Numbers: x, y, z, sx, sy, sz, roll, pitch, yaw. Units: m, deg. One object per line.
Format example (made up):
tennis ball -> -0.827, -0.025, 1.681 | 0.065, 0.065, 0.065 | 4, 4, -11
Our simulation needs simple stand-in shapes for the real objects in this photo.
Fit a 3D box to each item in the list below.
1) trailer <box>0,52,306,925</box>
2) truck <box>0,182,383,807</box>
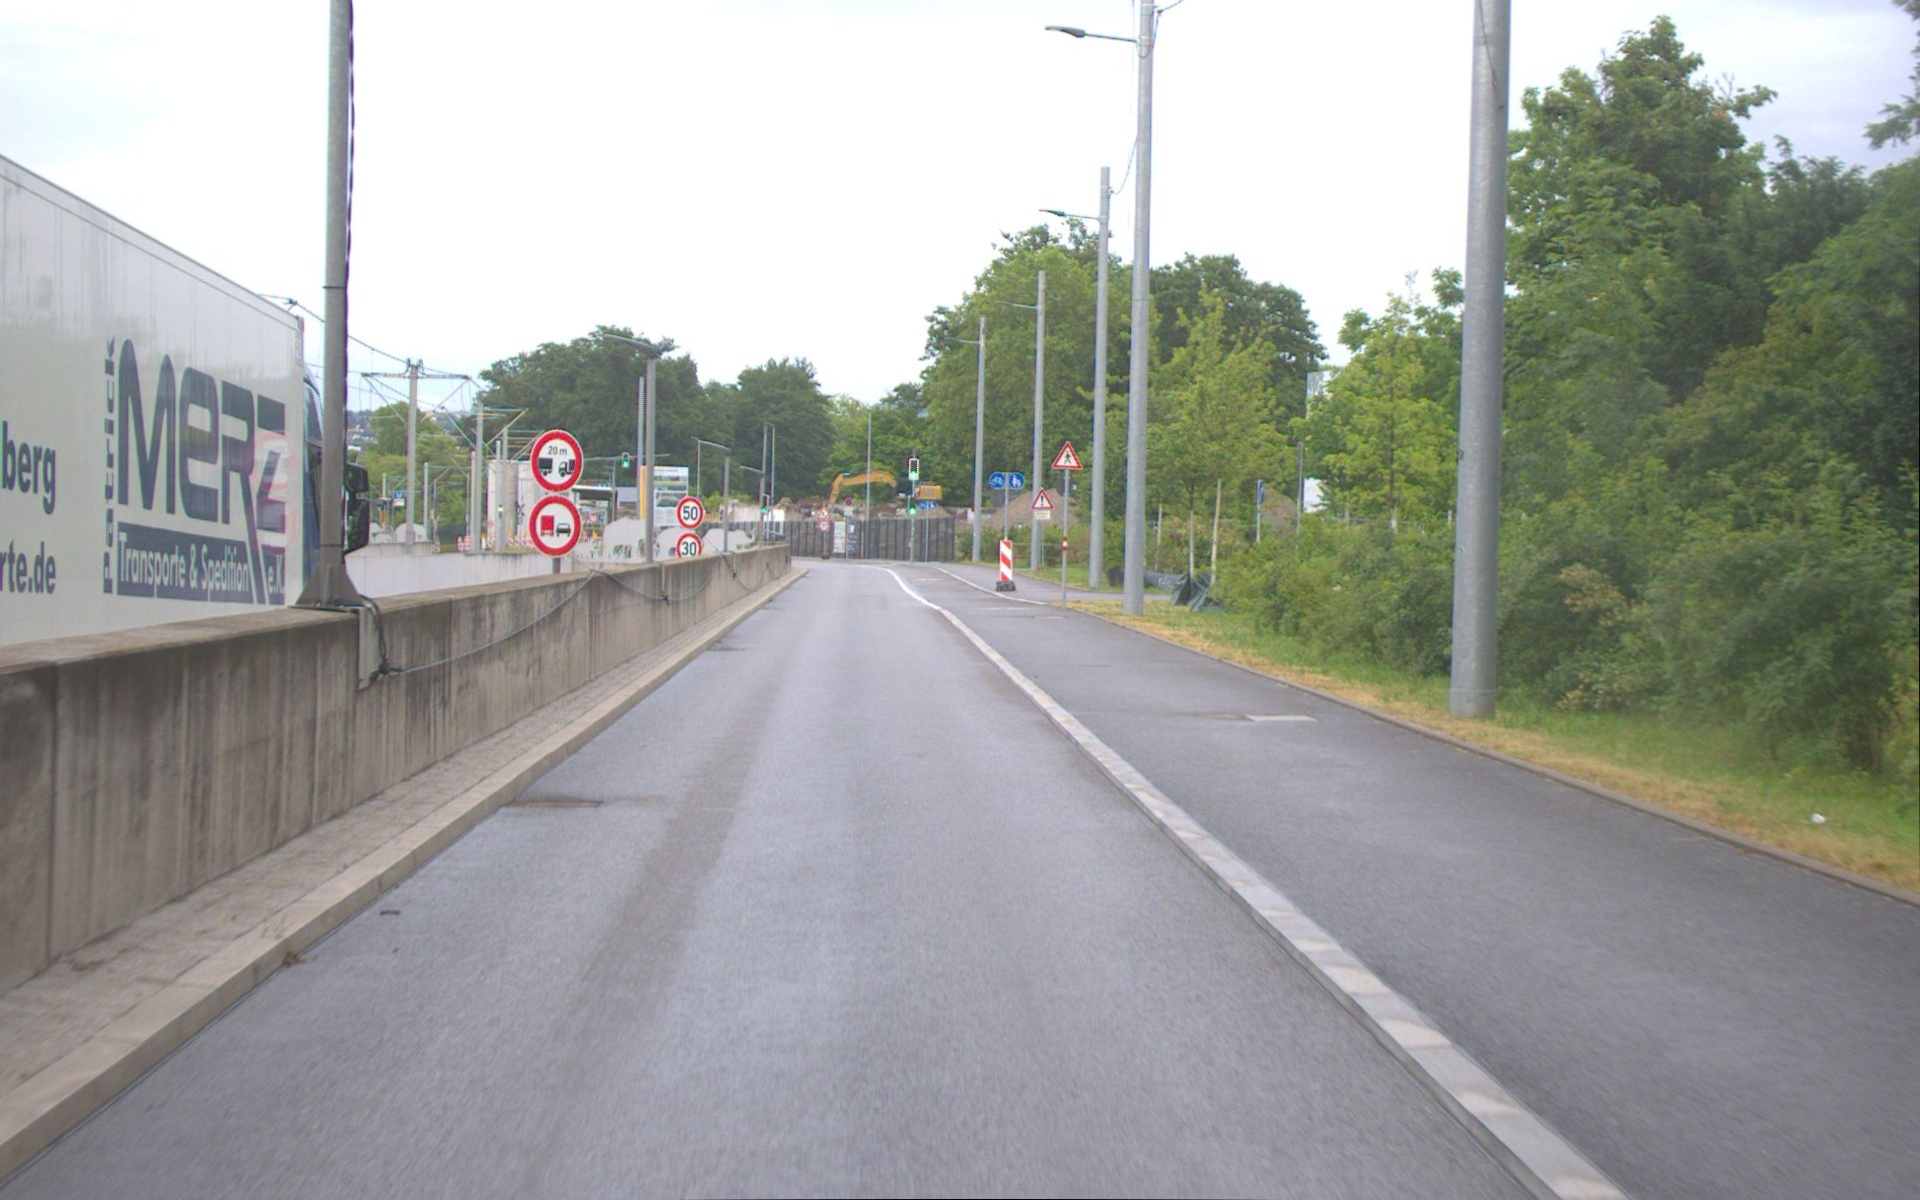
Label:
trailer -> -6.086, -0.600, 18.740 | 2.762, 4.238, 13.185 | 0, 2, -1
truck -> -6.266, -0.795, 26.246 | 2.756, 4.190, 6.307 | 0, 2, -1
